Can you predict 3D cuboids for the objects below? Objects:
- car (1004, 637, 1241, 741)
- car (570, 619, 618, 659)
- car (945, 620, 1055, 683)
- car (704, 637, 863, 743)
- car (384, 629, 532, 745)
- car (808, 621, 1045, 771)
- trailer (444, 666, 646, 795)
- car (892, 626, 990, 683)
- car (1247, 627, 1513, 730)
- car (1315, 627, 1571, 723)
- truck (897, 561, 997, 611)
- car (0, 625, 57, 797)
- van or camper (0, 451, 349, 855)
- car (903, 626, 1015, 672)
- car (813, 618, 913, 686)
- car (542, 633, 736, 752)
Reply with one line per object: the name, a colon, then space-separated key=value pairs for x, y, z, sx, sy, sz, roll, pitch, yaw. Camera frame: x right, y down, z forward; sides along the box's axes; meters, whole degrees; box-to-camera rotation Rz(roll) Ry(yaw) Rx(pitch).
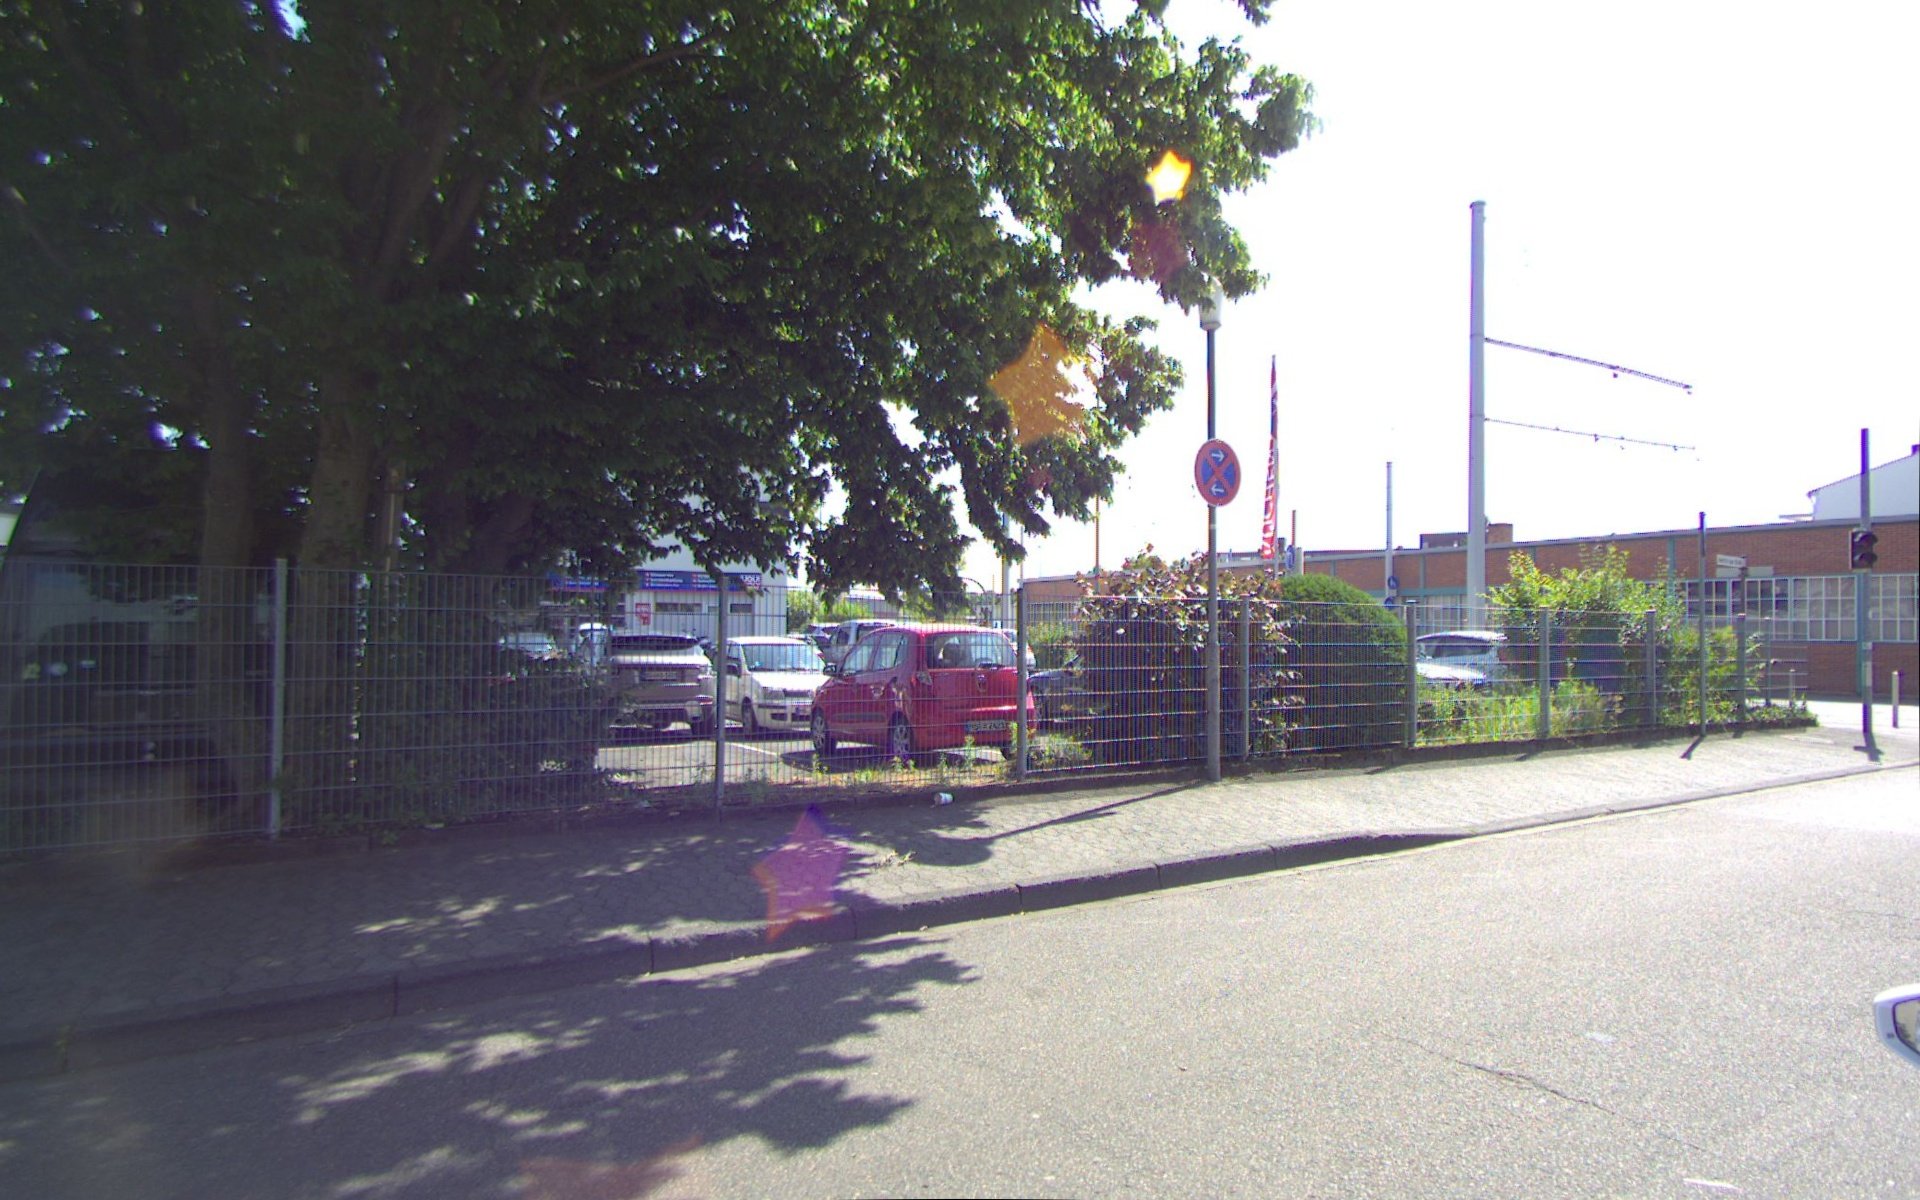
car: x=2.375 y=1.274 z=15.599 sx=1.745 sy=1.384 sz=3.752 roll=1 pitch=-2 yaw=-28
car: x=-13.743 y=1.465 z=37.813 sx=1.398 sy=1.445 sz=3.122 roll=1 pitch=-2 yaw=-15
car: x=1.221 y=1.602 z=32.273 sx=1.972 sy=1.873 sz=3.977 roll=2 pitch=-2 yaw=-24
car: x=-2.888 y=1.358 z=15.994 sx=1.632 sy=1.492 sz=3.058 roll=2 pitch=-3 yaw=-28
car: x=-7.482 y=1.169 z=14.798 sx=1.666 sy=1.471 sz=3.754 roll=1 pitch=-2 yaw=-31
car: x=-0.525 y=1.073 z=11.948 sx=1.499 sy=1.504 sz=3.366 roll=2 pitch=-4 yaw=-28
trailer: x=-4.302 y=1.198 z=10.154 sx=1.592 sy=0.952 sz=3.269 roll=1 pitch=-2 yaw=-28
car: x=-0.660 y=1.611 z=30.429 sx=1.828 sy=1.588 sz=3.918 roll=1 pitch=-2 yaw=-20
car: x=6.966 y=1.233 z=17.033 sx=1.785 sy=1.532 sz=3.874 roll=1 pitch=-2 yaw=-32
car: x=8.652 y=1.273 z=18.306 sx=1.785 sy=1.532 sz=3.874 roll=1 pitch=-2 yaw=-32
truck: x=-1.041 y=-1.094 z=80.369 sx=7.819 sy=3.832 sz=2.480 roll=1 pitch=-2 yaw=0
car: x=-8.314 y=0.866 z=7.090 sx=1.835 sy=1.405 sz=3.903 roll=1 pitch=-2 yaw=-26
van or camper: x=-6.691 y=0.429 z=8.877 sx=1.823 sy=2.610 sz=4.637 roll=2 pitch=-3 yaw=-28
car: x=-0.037 y=1.902 z=39.441 sx=3.947 sy=1.728 sz=1.988 roll=1 pitch=-2 yaw=-26
car: x=-2.919 y=1.483 z=29.403 sx=1.899 sy=1.847 sz=4.021 roll=1 pitch=-2 yaw=-21
car: x=-5.100 y=1.317 z=15.611 sx=1.954 sy=1.568 sz=3.965 roll=1 pitch=-2 yaw=-32
